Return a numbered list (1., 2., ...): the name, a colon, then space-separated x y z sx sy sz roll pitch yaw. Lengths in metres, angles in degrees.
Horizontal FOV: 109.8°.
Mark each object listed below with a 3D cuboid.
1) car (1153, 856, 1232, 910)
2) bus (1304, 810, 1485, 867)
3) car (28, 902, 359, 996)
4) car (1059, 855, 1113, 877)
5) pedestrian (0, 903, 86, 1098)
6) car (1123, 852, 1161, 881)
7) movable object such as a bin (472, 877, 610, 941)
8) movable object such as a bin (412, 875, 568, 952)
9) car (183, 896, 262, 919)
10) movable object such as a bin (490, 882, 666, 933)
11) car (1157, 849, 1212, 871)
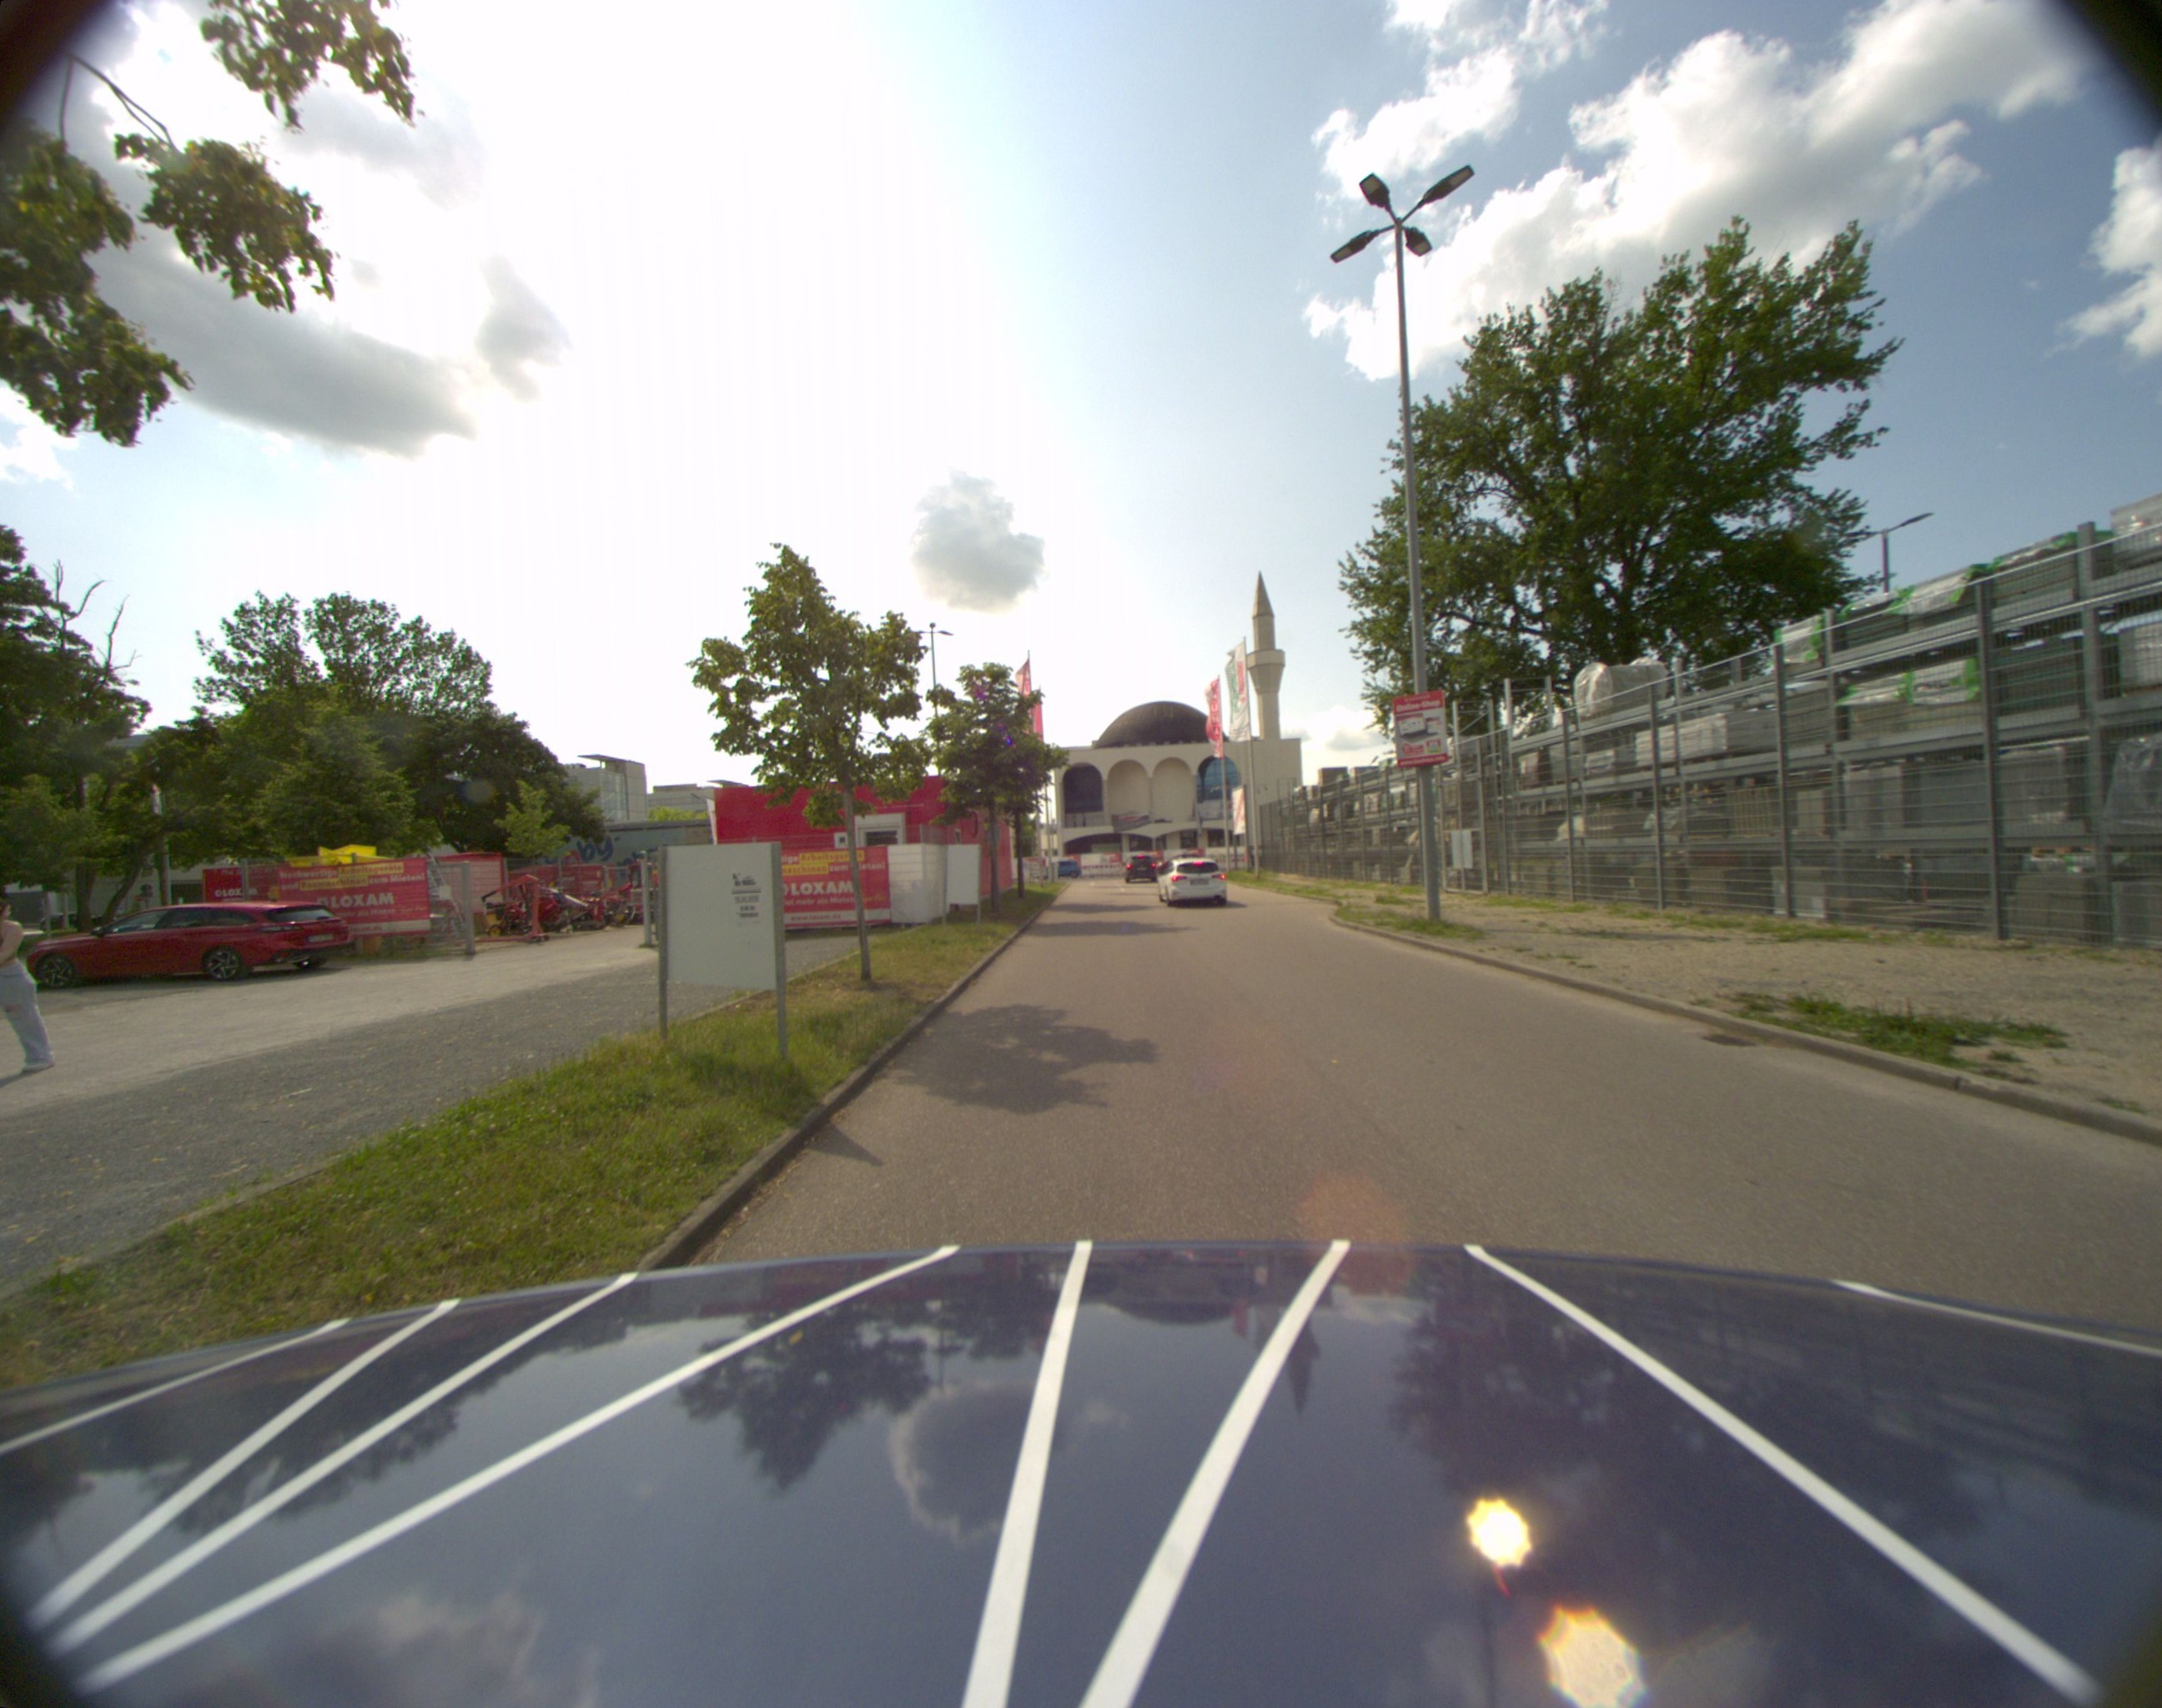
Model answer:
1. car: 3.450 0.848 24.277 1.808 1.456 4.329 -3 0 0
2. bus: 22.169 -1.062 54.274 11.558 3.345 2.893 -3 0 2
3. car: -16.739 1.762 14.513 4.144 1.406 1.617 -2 1 -4
4. car: 0.394 0.981 60.938 4.192 1.505 1.697 -3 0 2
5. pedestrian: -9.881 1.327 6.830 0.600 1.682 0.879 -2 1 3
6. car: 3.612 0.757 45.847 1.920 1.608 4.374 -2 0 0
7. movable object such as a bin: -15.804 1.588 22.313 3.010 1.660 1.389 -3 0 1
8. movable object such as a bin: -15.711 1.559 20.296 3.010 1.833 1.389 -3 0 1
9. car: -70.773 4.425 62.688 3.998 1.574 1.999 -3 0 -3
10. movable object such as a bin: -16.275 1.706 24.824 3.583 1.370 3.085 -2 0 5
11. car: 8.297 0.453 60.992 4.190 1.500 1.792 -3 0 2
